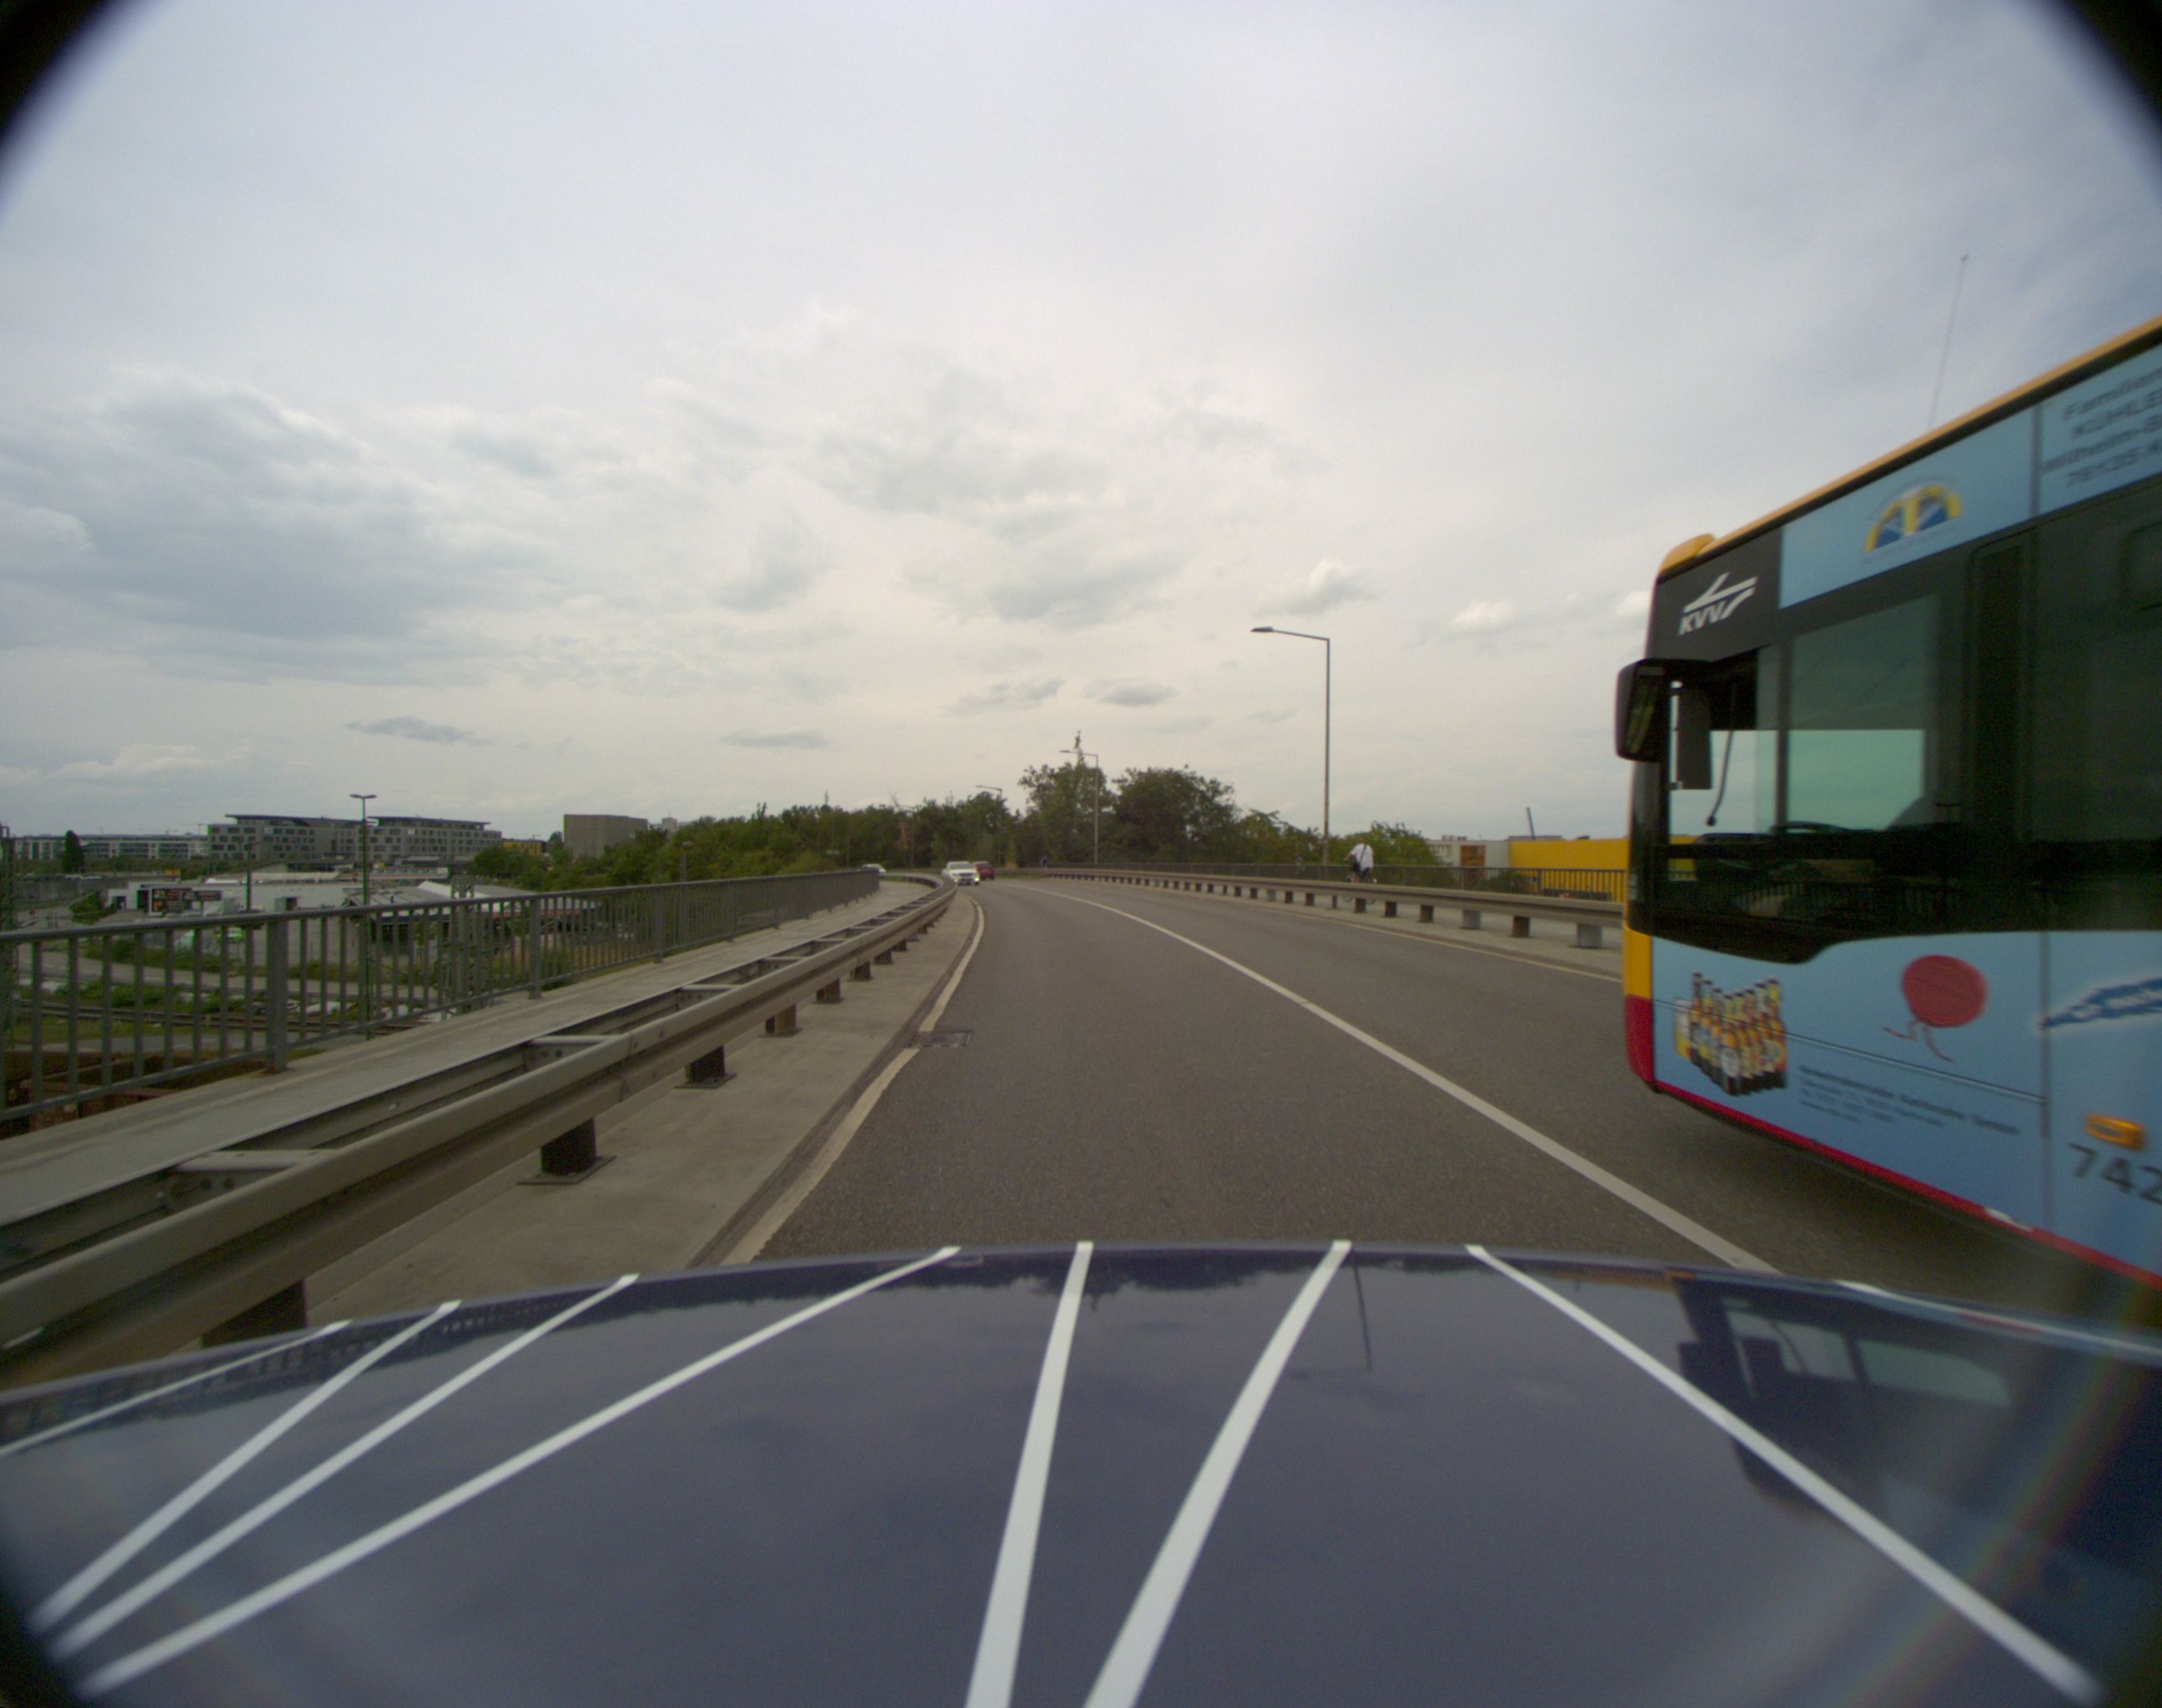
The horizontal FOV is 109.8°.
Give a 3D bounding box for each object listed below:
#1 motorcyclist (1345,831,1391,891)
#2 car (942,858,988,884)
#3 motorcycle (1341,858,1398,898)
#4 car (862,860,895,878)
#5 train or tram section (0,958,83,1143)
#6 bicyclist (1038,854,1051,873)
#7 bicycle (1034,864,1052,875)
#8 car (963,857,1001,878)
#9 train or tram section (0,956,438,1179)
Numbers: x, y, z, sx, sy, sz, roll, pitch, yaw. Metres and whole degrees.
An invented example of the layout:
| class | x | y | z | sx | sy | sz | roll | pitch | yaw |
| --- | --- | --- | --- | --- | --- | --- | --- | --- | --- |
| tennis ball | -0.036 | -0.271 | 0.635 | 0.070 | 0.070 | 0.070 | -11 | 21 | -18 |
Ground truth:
| class | x | y | z | sx | sy | sz | roll | pitch | yaw |
| --- | --- | --- | --- | --- | --- | --- | --- | --- | --- |
| motorcyclist | 7.529 | 0.184 | 19.946 | 0.812 | 1.520 | 0.823 | -2 | 1 | -7 |
| car | -7.206 | 1.021 | 46.803 | 1.940 | 1.448 | 3.879 | -3 | 0 | -22 |
| motorcycle | 7.557 | 0.606 | 20.011 | 0.627 | 0.957 | 1.838 | -2 | 1 | -6 |
| car | -20.897 | 1.573 | 78.141 | 1.967 | 1.694 | 4.422 | -2 | -1 | -33 |
| train or tram section | -41.241 | 6.541 | 24.632 | 14.241 | 5.567 | 3.660 | -2 | 1 | 6 |
| bicyclist | -2.893 | 0.760 | 60.062 | 0.714 | 1.436 | 0.746 | -2 | 0 | -26 |
| bicycle | -3.030 | 1.223 | 60.410 | 0.695 | 0.793 | 1.889 | -2 | 0 | -26 |
| car | -7.601 | 1.030 | 58.045 | 1.767 | 1.483 | 3.992 | -2 | 1 | -25 |
| train or tram section | -27.628 | 6.244 | 23.215 | 13.634 | 5.542 | 3.654 | -2 | 1 | 7 |
